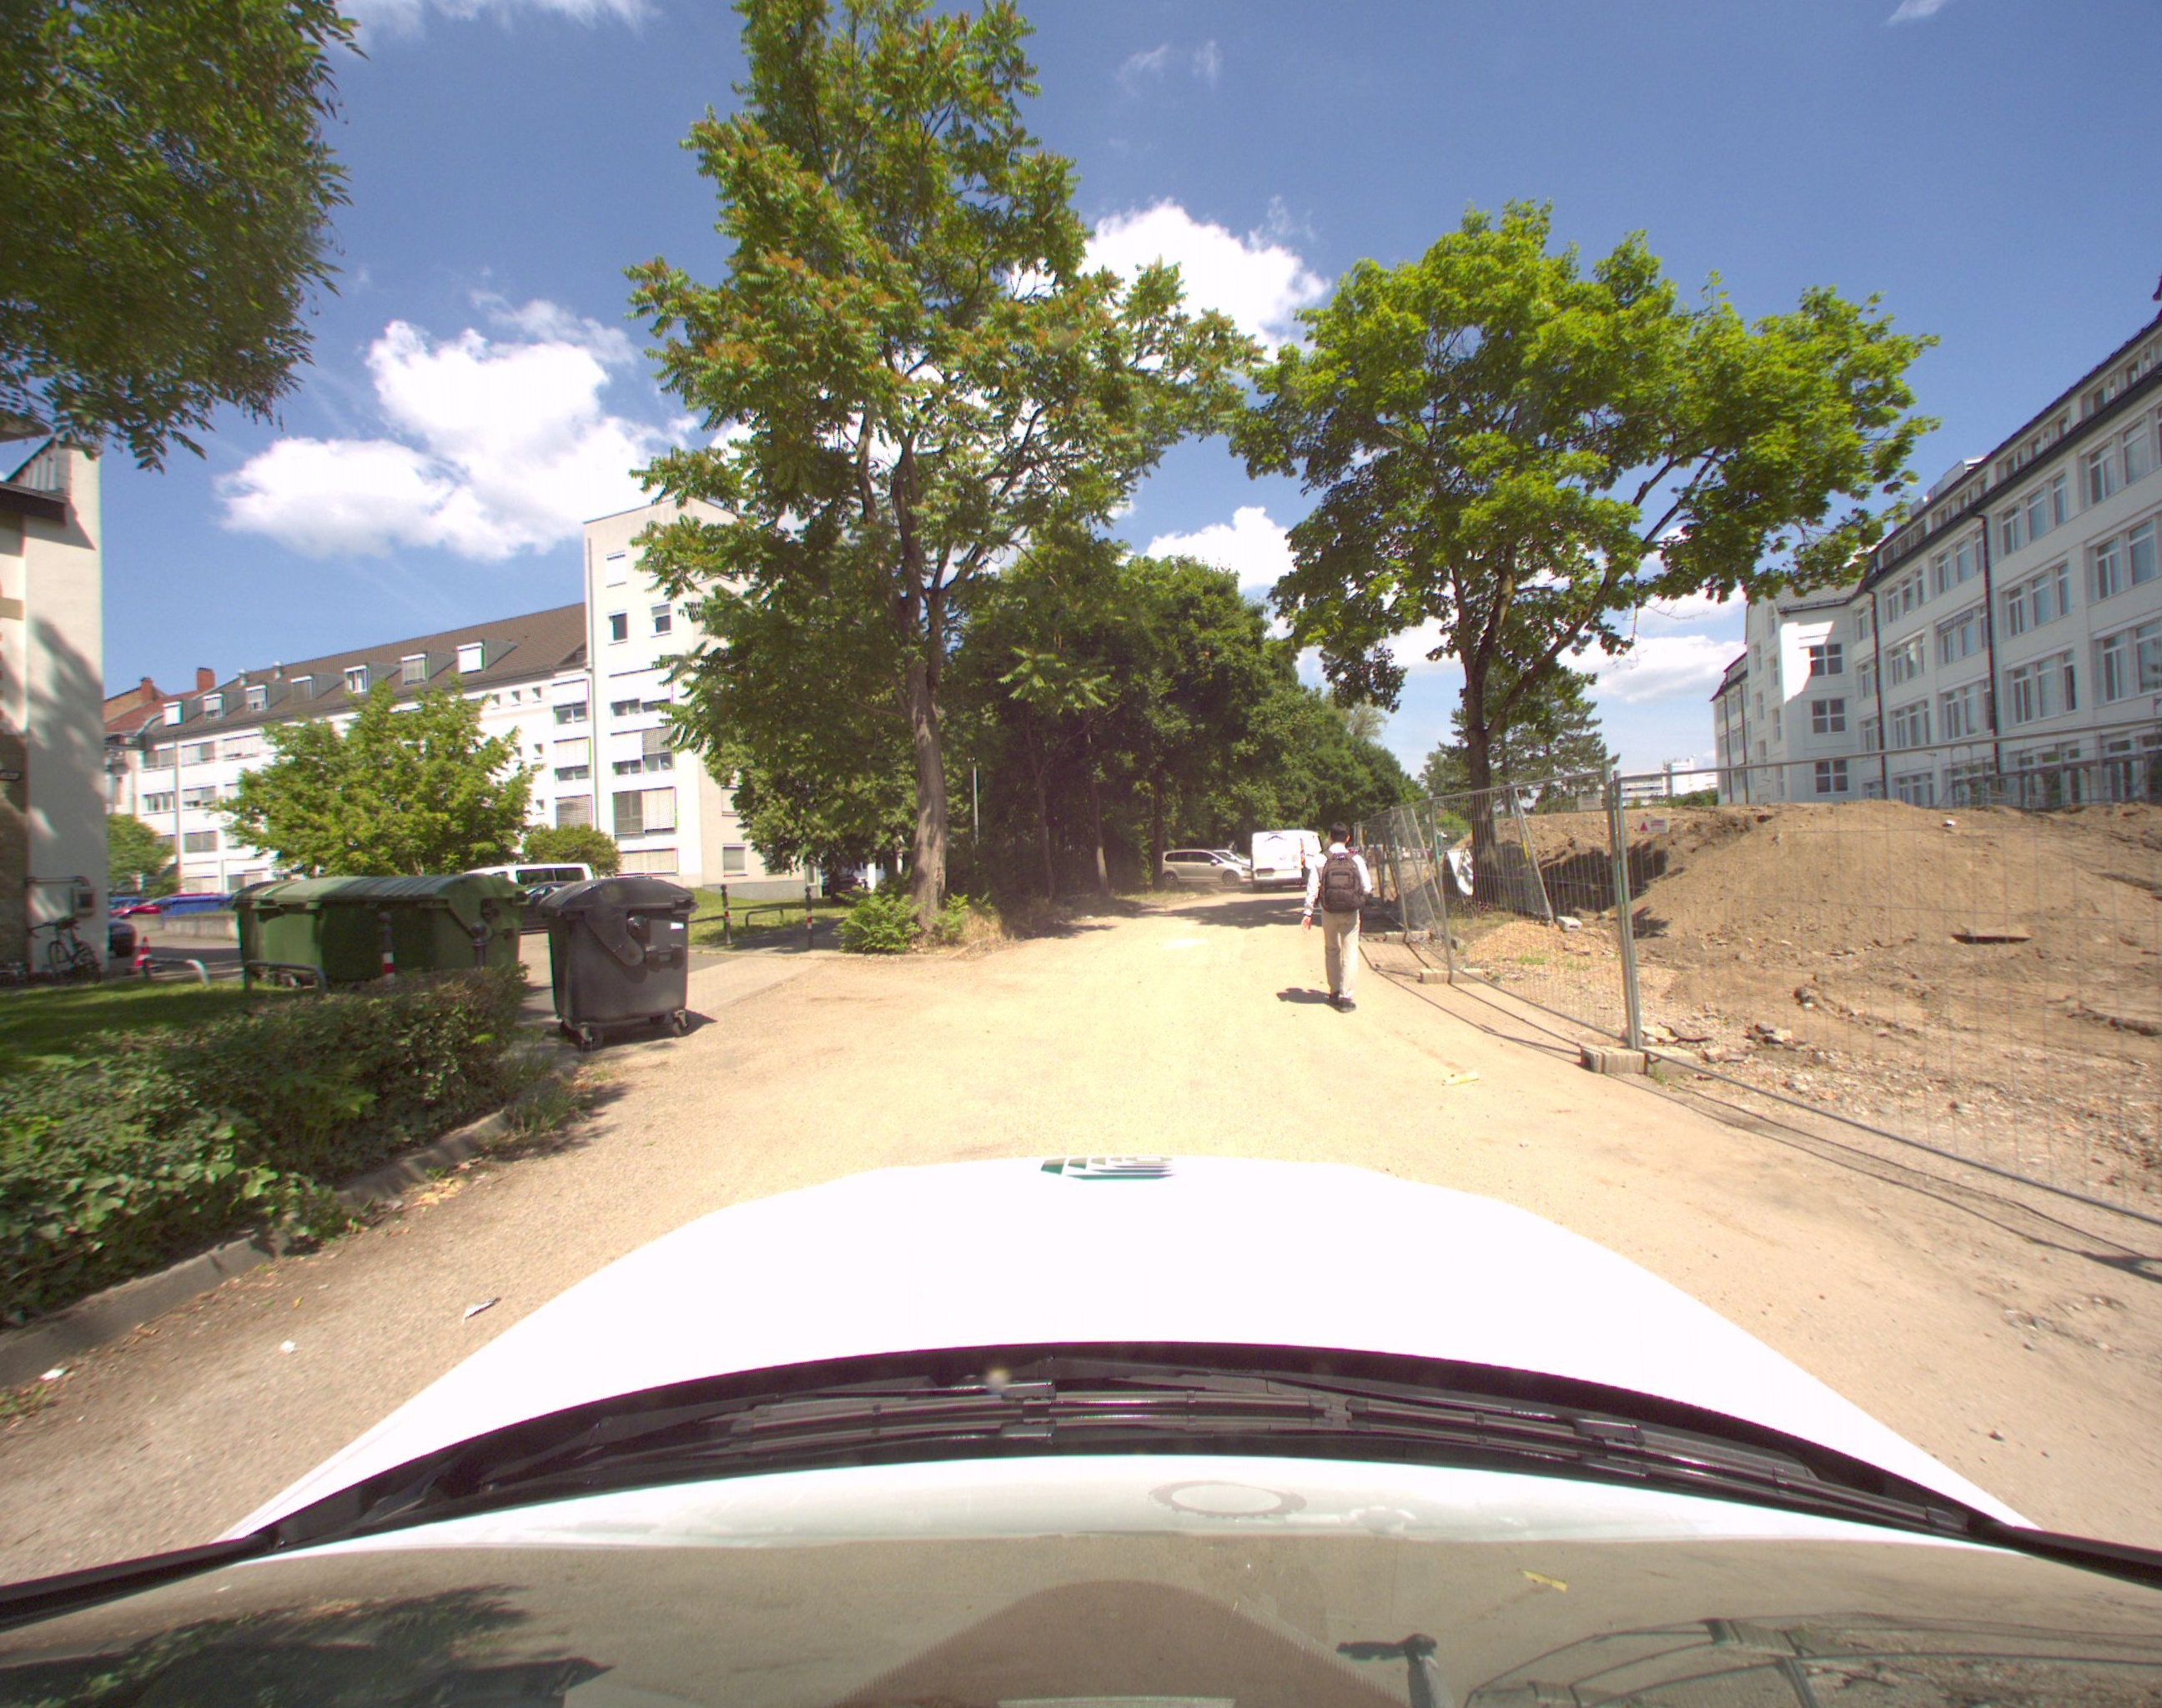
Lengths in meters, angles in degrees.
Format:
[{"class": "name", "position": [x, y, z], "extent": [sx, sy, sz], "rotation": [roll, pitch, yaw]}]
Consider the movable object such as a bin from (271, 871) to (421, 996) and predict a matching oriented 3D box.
[{"class": "movable object such as a bin", "position": [-9.610, 1.001, 10.663], "extent": [1.246, 1.479, 1.054], "rotation": [-2, 0, 28]}]

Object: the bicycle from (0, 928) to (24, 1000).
[{"class": "bicycle", "position": [-15.833, 1.559, 11.599], "extent": [2.231, 0.958, 0.611], "rotation": [-2, 0, 29]}]

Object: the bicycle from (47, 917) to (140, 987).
[{"class": "bicycle", "position": [-15.359, 1.491, 12.657], "extent": [1.708, 0.958, 0.617], "rotation": [-2, 0, 29]}]

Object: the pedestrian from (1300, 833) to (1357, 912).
[{"class": "pedestrian", "position": [5.380, 0.387, 17.766], "extent": [1.028, 1.650, 1.052], "rotation": [-2, 0, 11]}]

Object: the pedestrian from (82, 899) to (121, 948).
[{"class": "pedestrian", "position": [-36.071, 2.544, 29.987], "extent": [0.742, 1.755, 0.764], "rotation": [-2, -1, 29]}]

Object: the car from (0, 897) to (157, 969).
[{"class": "car", "position": [-23.792, 1.805, 19.143], "extent": [4.330, 1.430, 1.771], "rotation": [-2, 0, 28]}]

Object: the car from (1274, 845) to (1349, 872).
[{"class": "car", "position": [15.345, 0.294, 54.297], "extent": [4.463, 1.598, 1.948], "rotation": [-2, 0, 28]}]

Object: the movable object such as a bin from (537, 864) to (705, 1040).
[{"class": "movable object such as a bin", "position": [-4.233, 0.825, 7.471], "extent": [1.122, 1.394, 1.147], "rotation": [-2, 0, -39]}]

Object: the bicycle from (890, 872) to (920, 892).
[{"class": "bicycle", "position": [-10.393, 1.667, 48.213], "extent": [0.594, 1.084, 1.951], "rotation": [-2, 0, 26]}]

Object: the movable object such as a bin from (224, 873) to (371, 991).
[{"class": "movable object such as a bin", "position": [-10.911, 1.049, 11.354], "extent": [1.392, 1.479, 1.054], "rotation": [-2, 0, 28]}]

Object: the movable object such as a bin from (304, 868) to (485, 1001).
[{"class": "movable object such as a bin", "position": [-8.392, 0.956, 10.000], "extent": [1.345, 1.479, 1.101], "rotation": [-2, 0, 17]}]

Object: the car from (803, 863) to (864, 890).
[{"class": "car", "position": [-16.000, 1.443, 52.824], "extent": [1.652, 1.621, 3.651], "rotation": [-2, 0, 28]}]

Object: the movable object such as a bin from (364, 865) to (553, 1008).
[{"class": "movable object such as a bin", "position": [-7.191, 0.911, 9.451], "extent": [1.309, 1.479, 1.215], "rotation": [-2, 0, 25]}]

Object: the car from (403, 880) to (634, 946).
[{"class": "car", "position": [-14.592, 1.461, 21.453], "extent": [1.810, 1.352, 4.655], "rotation": [-2, 0, 28]}]

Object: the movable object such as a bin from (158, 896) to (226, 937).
[{"class": "movable object such as a bin", "position": [-31.392, 2.192, 28.769], "extent": [1.145, 1.326, 1.352], "rotation": [-3, 0, 30]}]

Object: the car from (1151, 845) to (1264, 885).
[{"class": "car", "position": [5.529, 0.523, 35.671], "extent": [4.463, 1.609, 2.012], "rotation": [-2, -2, 28]}]

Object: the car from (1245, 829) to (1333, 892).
[{"class": "car", "position": [7.196, 0.187, 27.813], "extent": [1.954, 1.947, 4.608], "rotation": [-2, 0, 26]}]

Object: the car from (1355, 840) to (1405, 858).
[{"class": "car", "position": [29.725, -0.463, 80.936], "extent": [4.463, 1.597, 1.736], "rotation": [-2, 0, 27]}]

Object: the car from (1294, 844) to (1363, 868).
[{"class": "car", "position": [17.836, 0.152, 58.787], "extent": [4.463, 1.597, 1.736], "rotation": [-2, 0, 27]}]

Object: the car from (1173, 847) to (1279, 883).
[{"class": "car", "position": [6.739, 0.503, 37.916], "extent": [4.463, 1.531, 1.736], "rotation": [-2, 0, 27]}]

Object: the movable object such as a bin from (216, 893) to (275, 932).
[{"class": "movable object such as a bin", "position": [-30.765, 2.156, 30.000], "extent": [1.145, 1.326, 1.228], "rotation": [-3, 0, 30]}]

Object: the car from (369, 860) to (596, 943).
[{"class": "car", "position": [-16.904, 1.267, 23.323], "extent": [1.975, 2.014, 4.804], "rotation": [-3, -1, 28]}]

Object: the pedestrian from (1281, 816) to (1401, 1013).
[{"class": "pedestrian", "position": [2.438, 0.535, 7.782], "extent": [0.869, 1.729, 1.083], "rotation": [-2, 0, 8]}]
